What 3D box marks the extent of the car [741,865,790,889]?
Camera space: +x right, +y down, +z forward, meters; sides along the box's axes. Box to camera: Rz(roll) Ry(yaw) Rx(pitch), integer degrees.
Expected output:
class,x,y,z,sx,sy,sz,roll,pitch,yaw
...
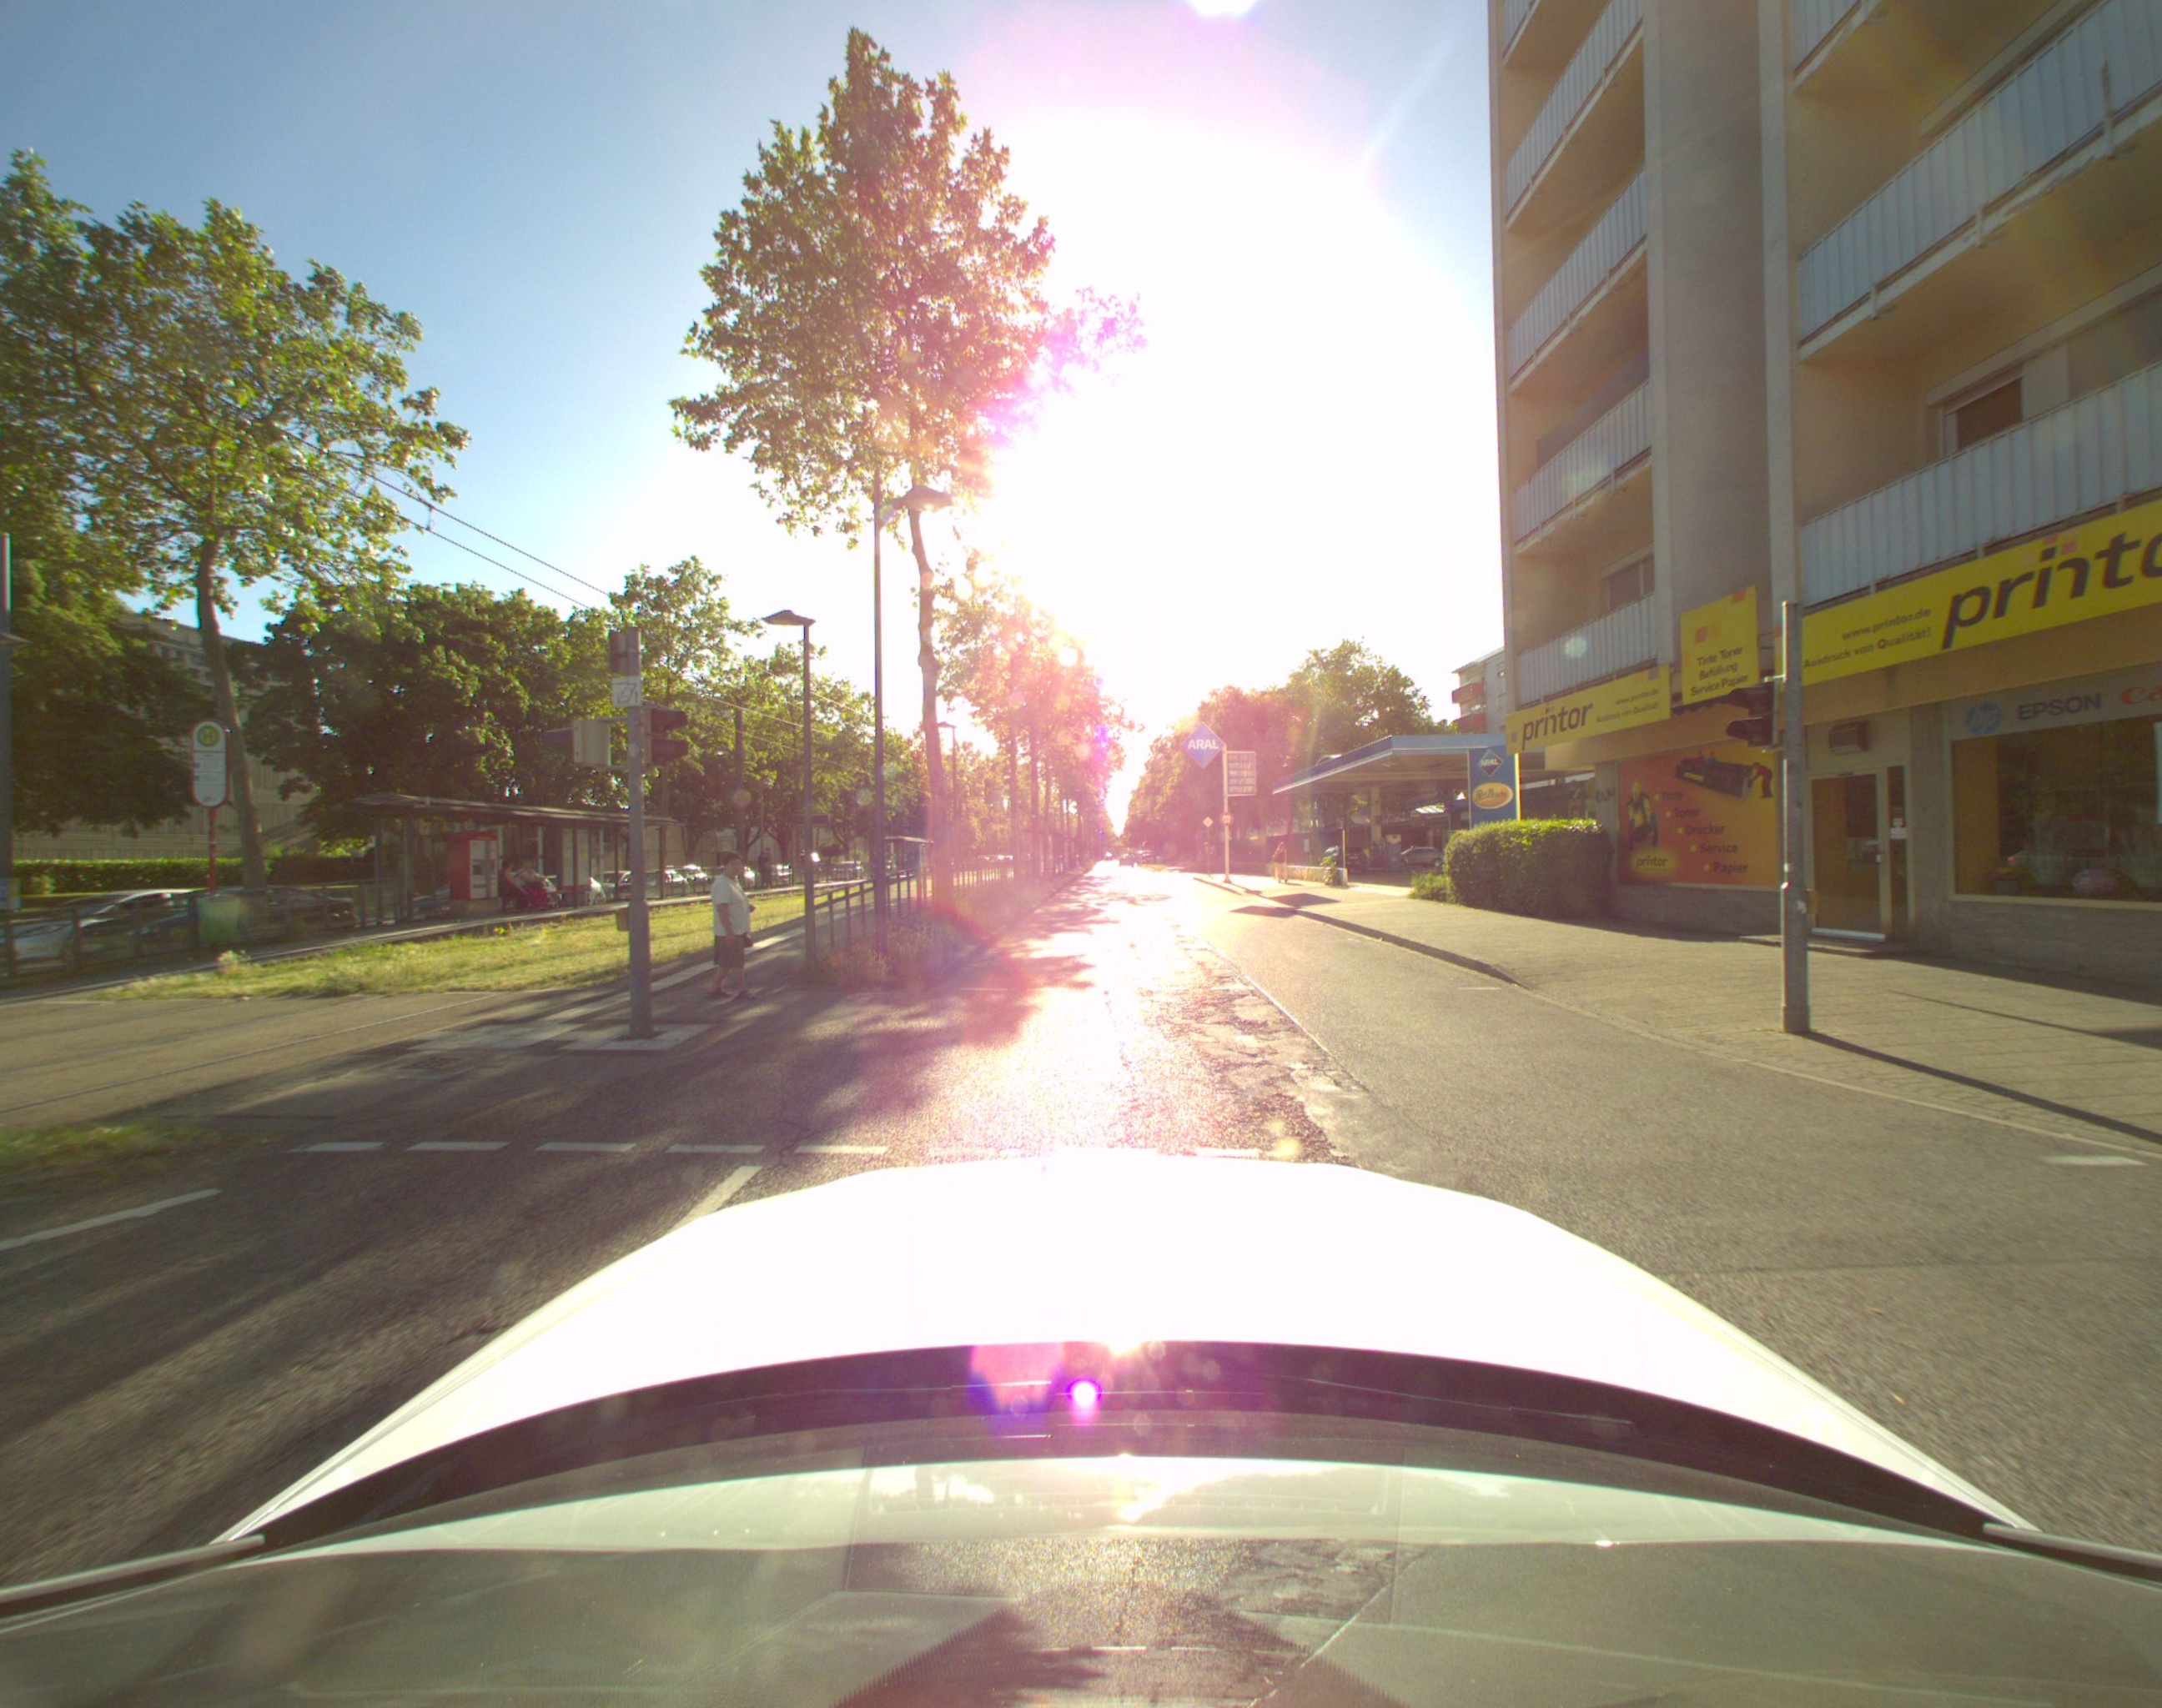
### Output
class,x,y,z,sx,sy,sz,roll,pitch,yaw
car,-20.999,1.501,54.381,1.588,1.488,4.021,-2,0,1

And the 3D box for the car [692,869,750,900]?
class,x,y,z,sx,sy,sz,roll,pitch,yaw
car,-21.365,1.771,48.513,1.588,1.636,3.931,-2,0,2

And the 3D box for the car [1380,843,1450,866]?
class,x,y,z,sx,sy,sz,roll,pitch,yaw
car,23.878,0.061,58.356,4.177,1.531,1.983,-1,0,0

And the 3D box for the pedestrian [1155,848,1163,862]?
class,x,y,z,sx,sy,sz,roll,pitch,yaw
pedestrian,9.437,0.144,98.319,0.715,1.706,0.647,-2,-1,-33

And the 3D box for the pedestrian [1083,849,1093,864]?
class,x,y,z,sx,sy,sz,roll,pitch,yaw
pedestrian,0.831,0.322,96.088,0.835,1.722,0.834,-2,0,17

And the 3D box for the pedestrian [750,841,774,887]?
class,x,y,z,sx,sy,sz,roll,pitch,yaw
pedestrian,-12.996,0.399,33.174,0.717,1.867,0.637,-1,0,2

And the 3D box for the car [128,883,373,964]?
class,x,y,z,sx,sy,sz,roll,pitch,yaw
car,-14.968,1.191,14.890,1.319,1.204,2.968,-2,0,3

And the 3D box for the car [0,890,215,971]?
class,x,y,z,sx,sy,sz,roll,pitch,yaw
car,-20.050,1.484,16.582,1.322,1.325,3.412,-1,0,-4

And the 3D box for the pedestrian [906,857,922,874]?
class,x,y,z,sx,sy,sz,roll,pitch,yaw
pedestrian,-12.446,0.820,60.645,0.829,1.261,0.804,0,0,30

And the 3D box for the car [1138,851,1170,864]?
class,x,y,z,sx,sy,sz,roll,pitch,yaw
car,9.882,0.417,110.094,4.010,1.469,1.744,-4,0,-30

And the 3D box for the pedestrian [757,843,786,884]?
class,x,y,z,sx,sy,sz,roll,pitch,yaw
pedestrian,-12.931,0.400,34.005,0.879,1.689,0.755,-1,0,2

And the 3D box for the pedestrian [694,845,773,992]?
class,x,y,z,sx,sy,sz,roll,pitch,yaw
pedestrian,-3.748,0.673,8.819,0.659,1.529,0.537,-1,-1,-11

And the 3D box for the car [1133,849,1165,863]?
class,x,y,z,sx,sy,sz,roll,pitch,yaw
car,10.162,0.252,120.702,4.694,1.853,1.810,-2,0,-38

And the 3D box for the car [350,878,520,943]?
class,x,y,z,sx,sy,sz,roll,pitch,yaw
car,-16.738,1.404,21.342,1.600,1.427,3.536,-1,0,0

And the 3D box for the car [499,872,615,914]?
class,x,y,z,sx,sy,sz,roll,pitch,yaw
car,-19.403,1.397,30.364,1.544,1.354,4.003,-1,0,3

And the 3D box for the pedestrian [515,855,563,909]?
class,x,y,z,sx,sy,sz,roll,pitch,yaw
pedestrian,-13.774,0.709,20.717,0.691,1.341,0.735,-1,0,3

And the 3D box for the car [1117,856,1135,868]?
class,x,y,z,sx,sy,sz,roll,pitch,yaw
car,5.203,0.923,94.708,1.915,1.411,4.001,0,0,2

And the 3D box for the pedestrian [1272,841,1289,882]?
class,x,y,z,sx,sy,sz,roll,pitch,yaw
pedestrian,8.454,0.324,34.515,0.601,1.701,0.553,-1,0,6

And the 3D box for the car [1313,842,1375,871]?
class,x,y,z,sx,sy,sz,roll,pitch,yaw
car,13.830,0.133,43.043,1.717,1.463,3.999,-1,0,-4

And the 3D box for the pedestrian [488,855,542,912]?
class,x,y,z,sx,sy,sz,roll,pitch,yaw
pedestrian,-13.797,0.707,19.861,0.726,1.341,0.777,-1,0,16

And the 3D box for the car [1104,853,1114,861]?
class,x,y,z,sx,sy,sz,roll,pitch,yaw
car,5.245,0.588,153.209,1.842,1.535,3.869,-1,0,2

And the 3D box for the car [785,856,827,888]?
class,x,y,z,sx,sy,sz,roll,pitch,yaw
car,-20.975,1.325,62.260,1.707,2.262,3.934,-1,0,1

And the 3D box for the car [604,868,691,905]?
class,x,y,z,sx,sy,sz,roll,pitch,yaw
car,-19.118,1.411,36.115,1.587,1.444,3.933,-2,0,3

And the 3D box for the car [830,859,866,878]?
class,x,y,z,sx,sy,sz,roll,pitch,yaw
car,-20.257,1.271,70.960,1.706,1.546,3.938,-2,0,5

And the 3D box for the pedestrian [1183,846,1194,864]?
class,x,y,z,sx,sy,sz,roll,pitch,yaw
pedestrian,11.738,0.114,88.980,0.926,1.885,0.797,-1,0,-12

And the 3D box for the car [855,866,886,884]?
class,x,y,z,sx,sy,sz,roll,pitch,yaw
car,-20.600,2.046,80.009,1.706,1.546,4.204,-2,0,3
